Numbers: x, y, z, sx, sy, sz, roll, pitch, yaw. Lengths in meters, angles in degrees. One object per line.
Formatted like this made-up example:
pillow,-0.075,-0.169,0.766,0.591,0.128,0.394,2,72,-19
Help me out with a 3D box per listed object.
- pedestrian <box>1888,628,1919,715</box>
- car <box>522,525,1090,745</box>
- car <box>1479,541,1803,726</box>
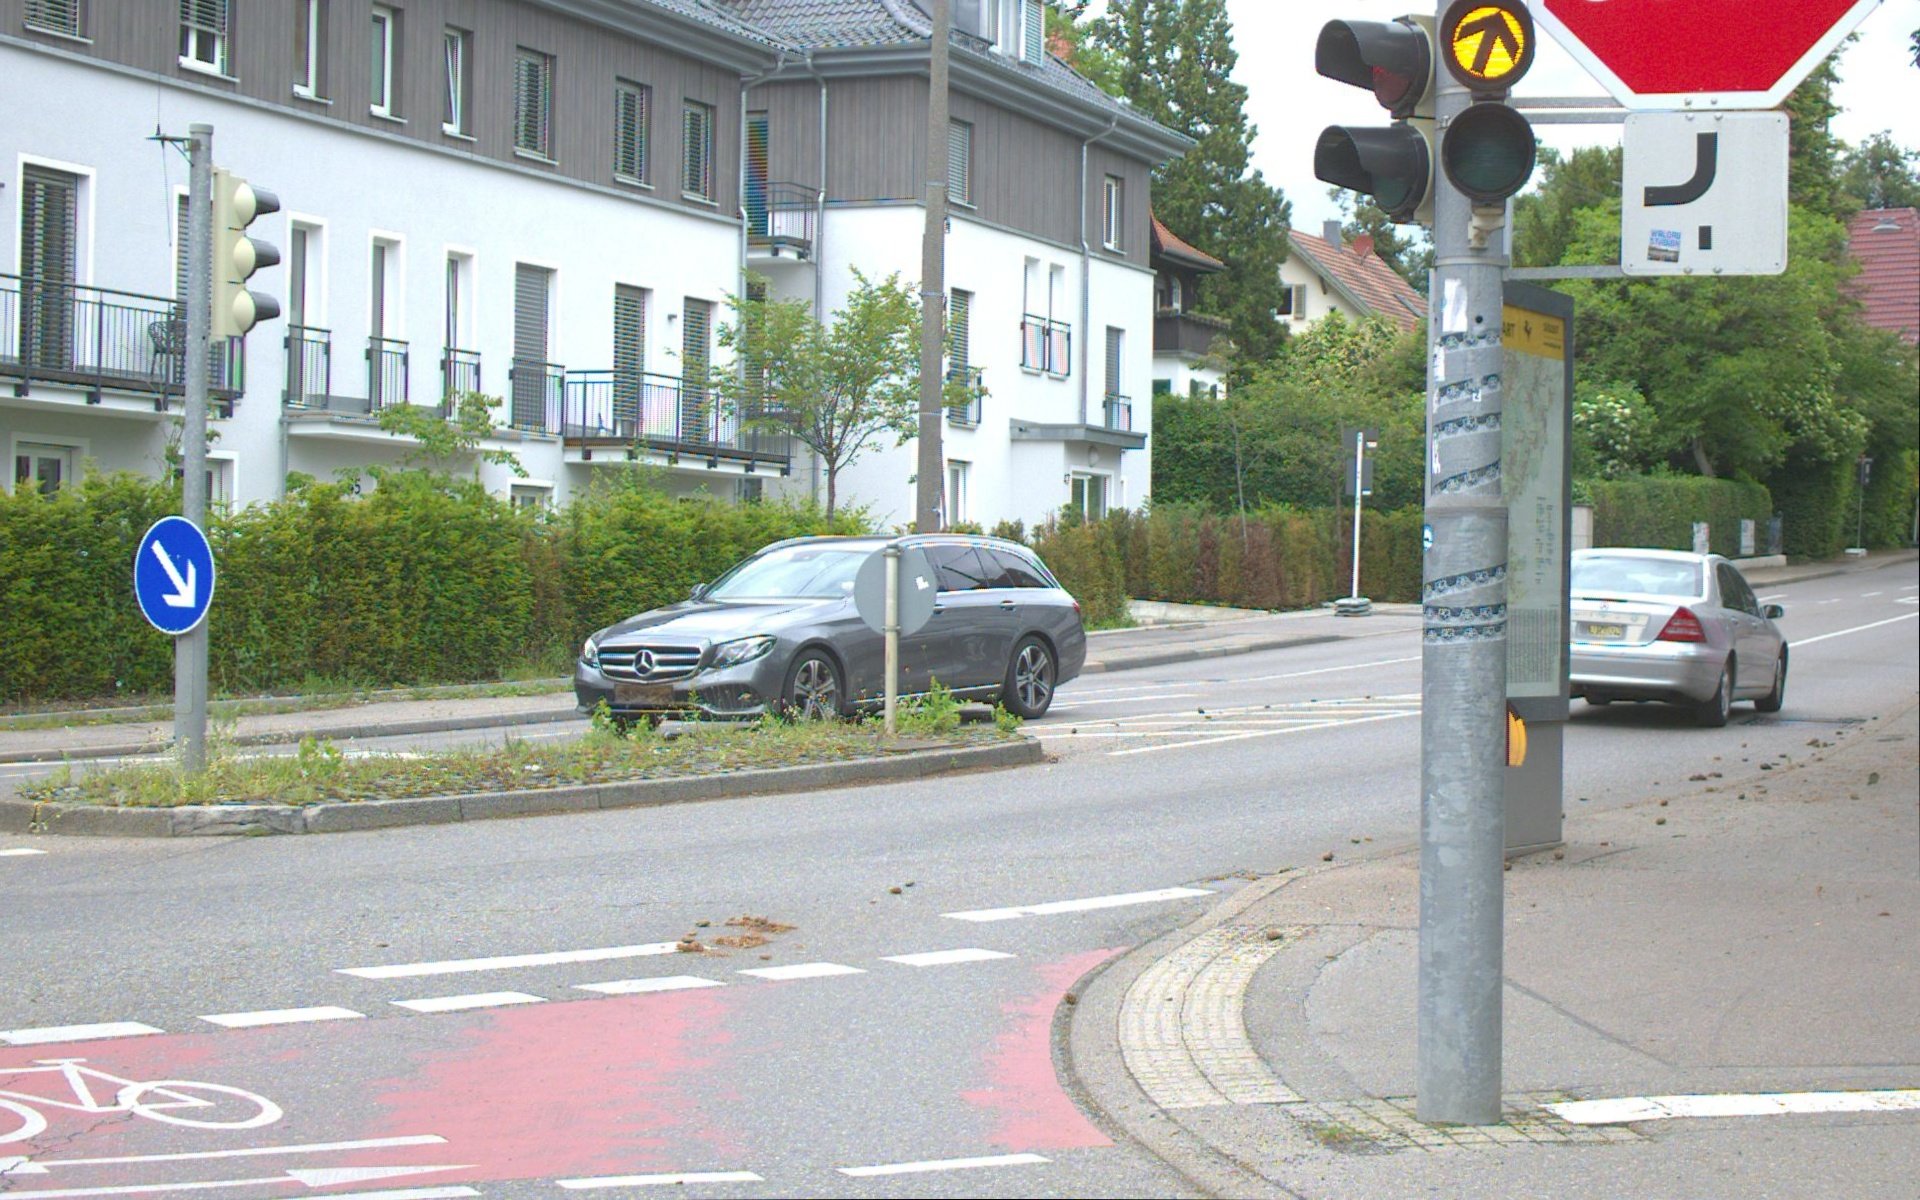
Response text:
pedestrian,8.123,0.592,28.419,0.644,0.694,0.585,0,2,-19
car,-1.050,0.194,26.095,1.829,1.480,4.739,0,2,34
car,5.804,0.245,28.914,1.799,1.410,4.330,1,1,23
